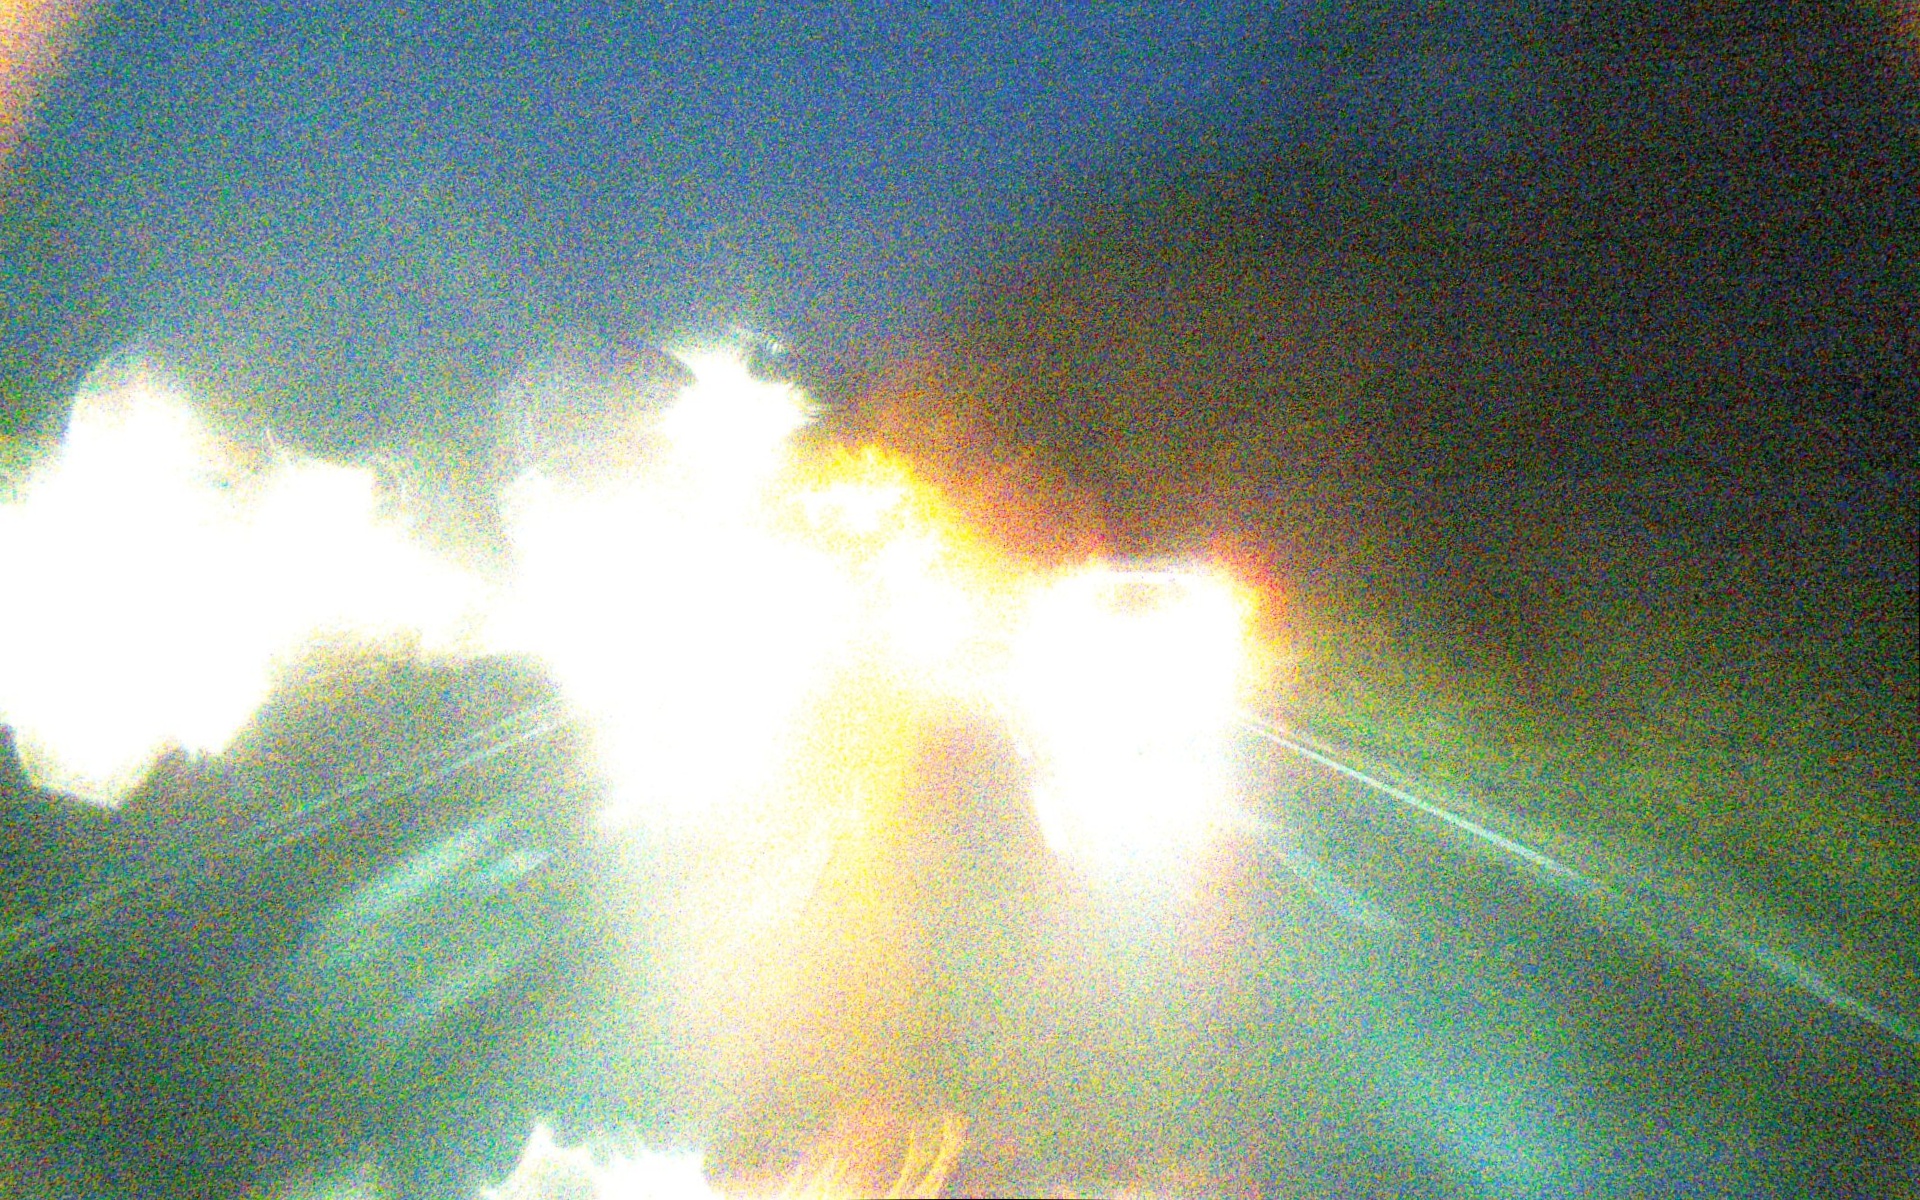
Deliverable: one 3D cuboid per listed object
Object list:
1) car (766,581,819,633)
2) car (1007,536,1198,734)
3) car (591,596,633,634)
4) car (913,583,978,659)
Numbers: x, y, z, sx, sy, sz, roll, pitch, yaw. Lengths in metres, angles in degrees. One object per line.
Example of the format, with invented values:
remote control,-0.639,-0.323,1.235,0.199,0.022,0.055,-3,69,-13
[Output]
car,-6.091,0.225,59.792,1.750,1.813,4.429,0,1,-8
car,1.554,0.346,19.543,1.755,2.057,4.578,0,0,-1
car,-15.898,0.673,75.587,1.770,1.616,4.019,2,-1,-12
car,-0.443,0.557,47.237,1.755,2.057,4.578,0,0,-1
